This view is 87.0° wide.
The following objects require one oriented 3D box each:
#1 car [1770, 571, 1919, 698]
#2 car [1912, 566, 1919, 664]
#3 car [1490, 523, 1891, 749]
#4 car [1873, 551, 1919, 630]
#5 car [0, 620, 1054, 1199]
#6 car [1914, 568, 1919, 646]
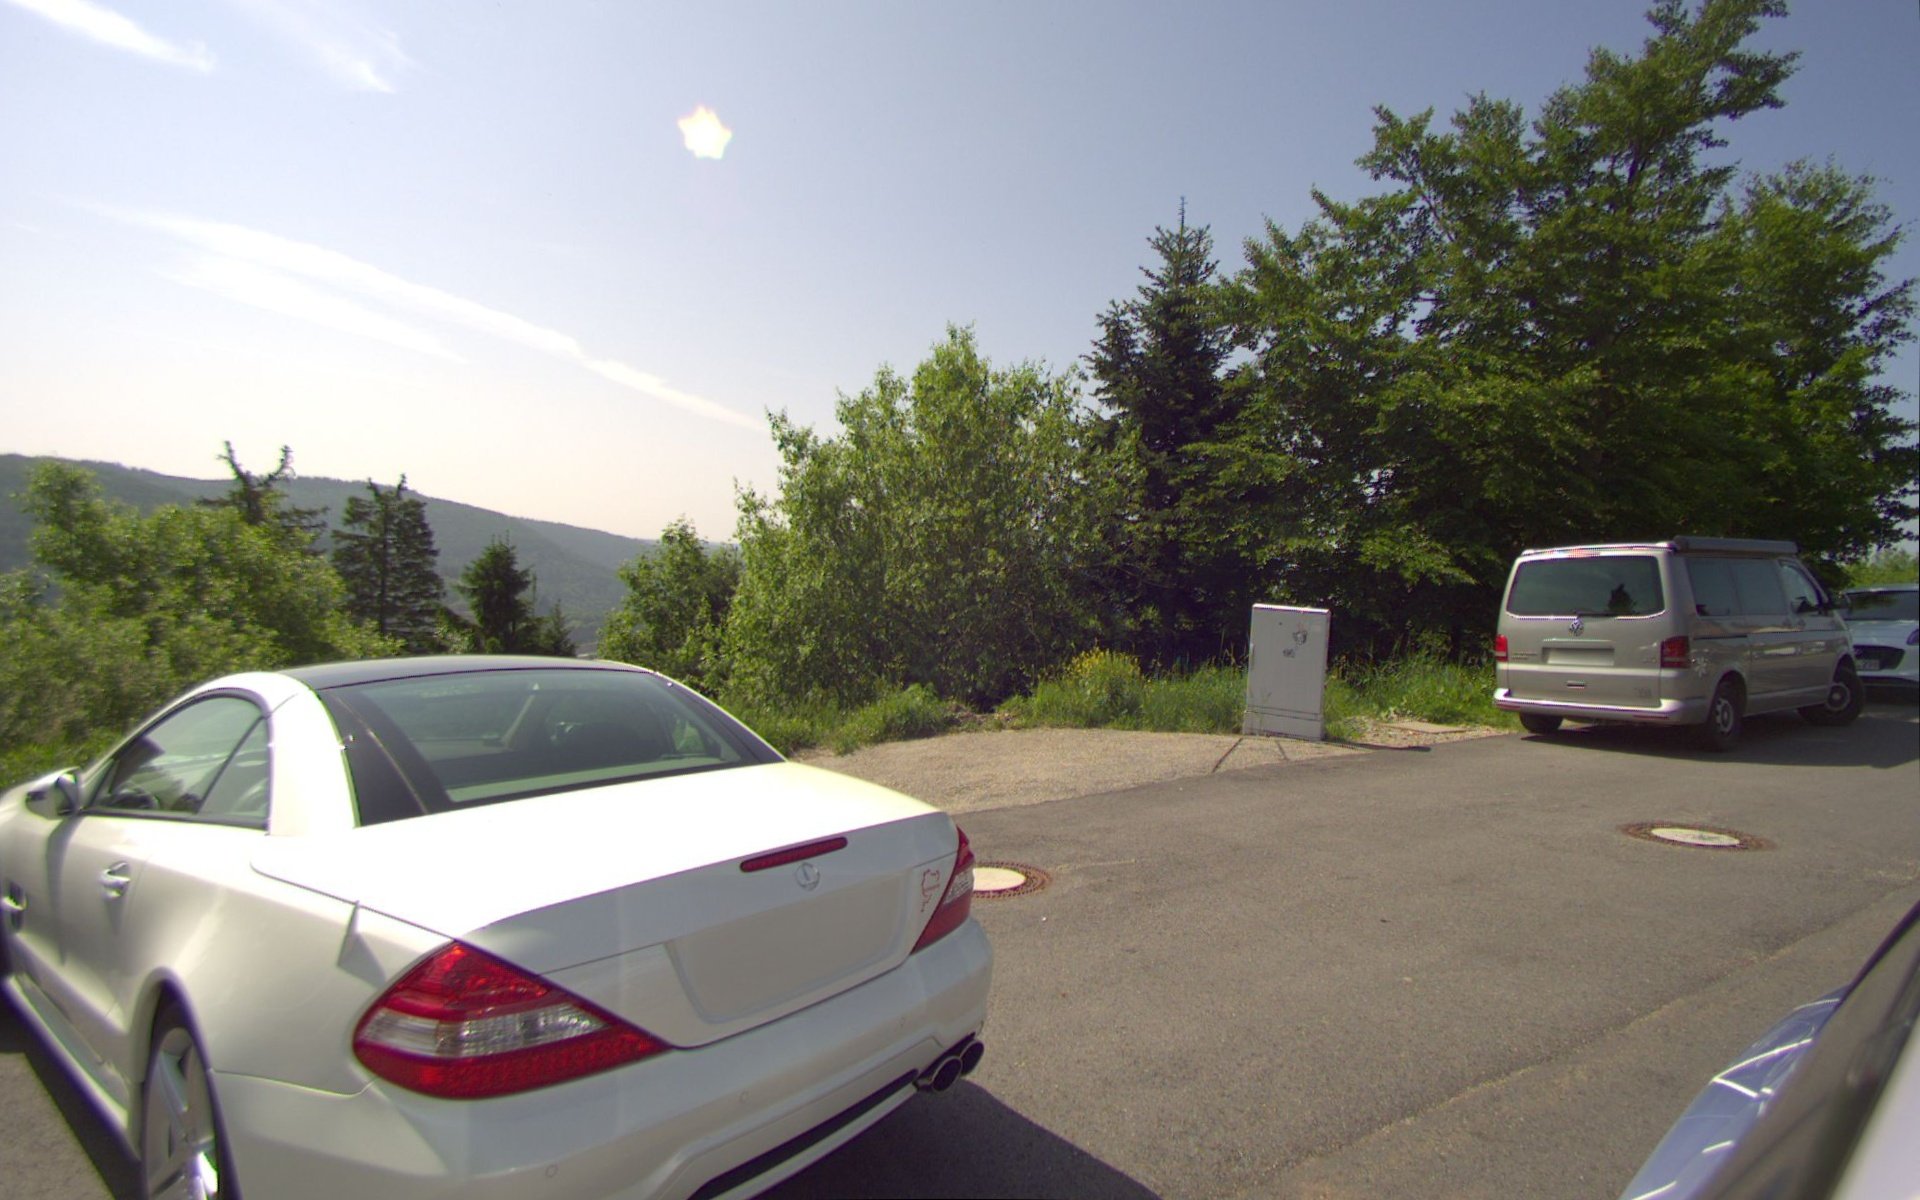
[{"bbox_3d":[13.083,0.410,14.049,3.925,1.567,1.876,-1,0,-36],"label":"car"},{"bbox_3d":[18.169,0.230,17.415,3.925,1.639,1.876,-1,0,-36],"label":"car"},{"bbox_3d":[7.860,0.308,10.790,4.518,1.960,1.864,0,-1,-32],"label":"car"},{"bbox_3d":[25.366,-0.254,24.650,4.433,1.949,1.852,0,0,37],"label":"car"},{"bbox_3d":[-1.974,0.741,3.431,4.391,1.312,1.730,-1,-1,40],"label":"car"},{"bbox_3d":[21.667,0.135,19.916,3.976,1.639,1.852,0,0,37],"label":"car"}]
